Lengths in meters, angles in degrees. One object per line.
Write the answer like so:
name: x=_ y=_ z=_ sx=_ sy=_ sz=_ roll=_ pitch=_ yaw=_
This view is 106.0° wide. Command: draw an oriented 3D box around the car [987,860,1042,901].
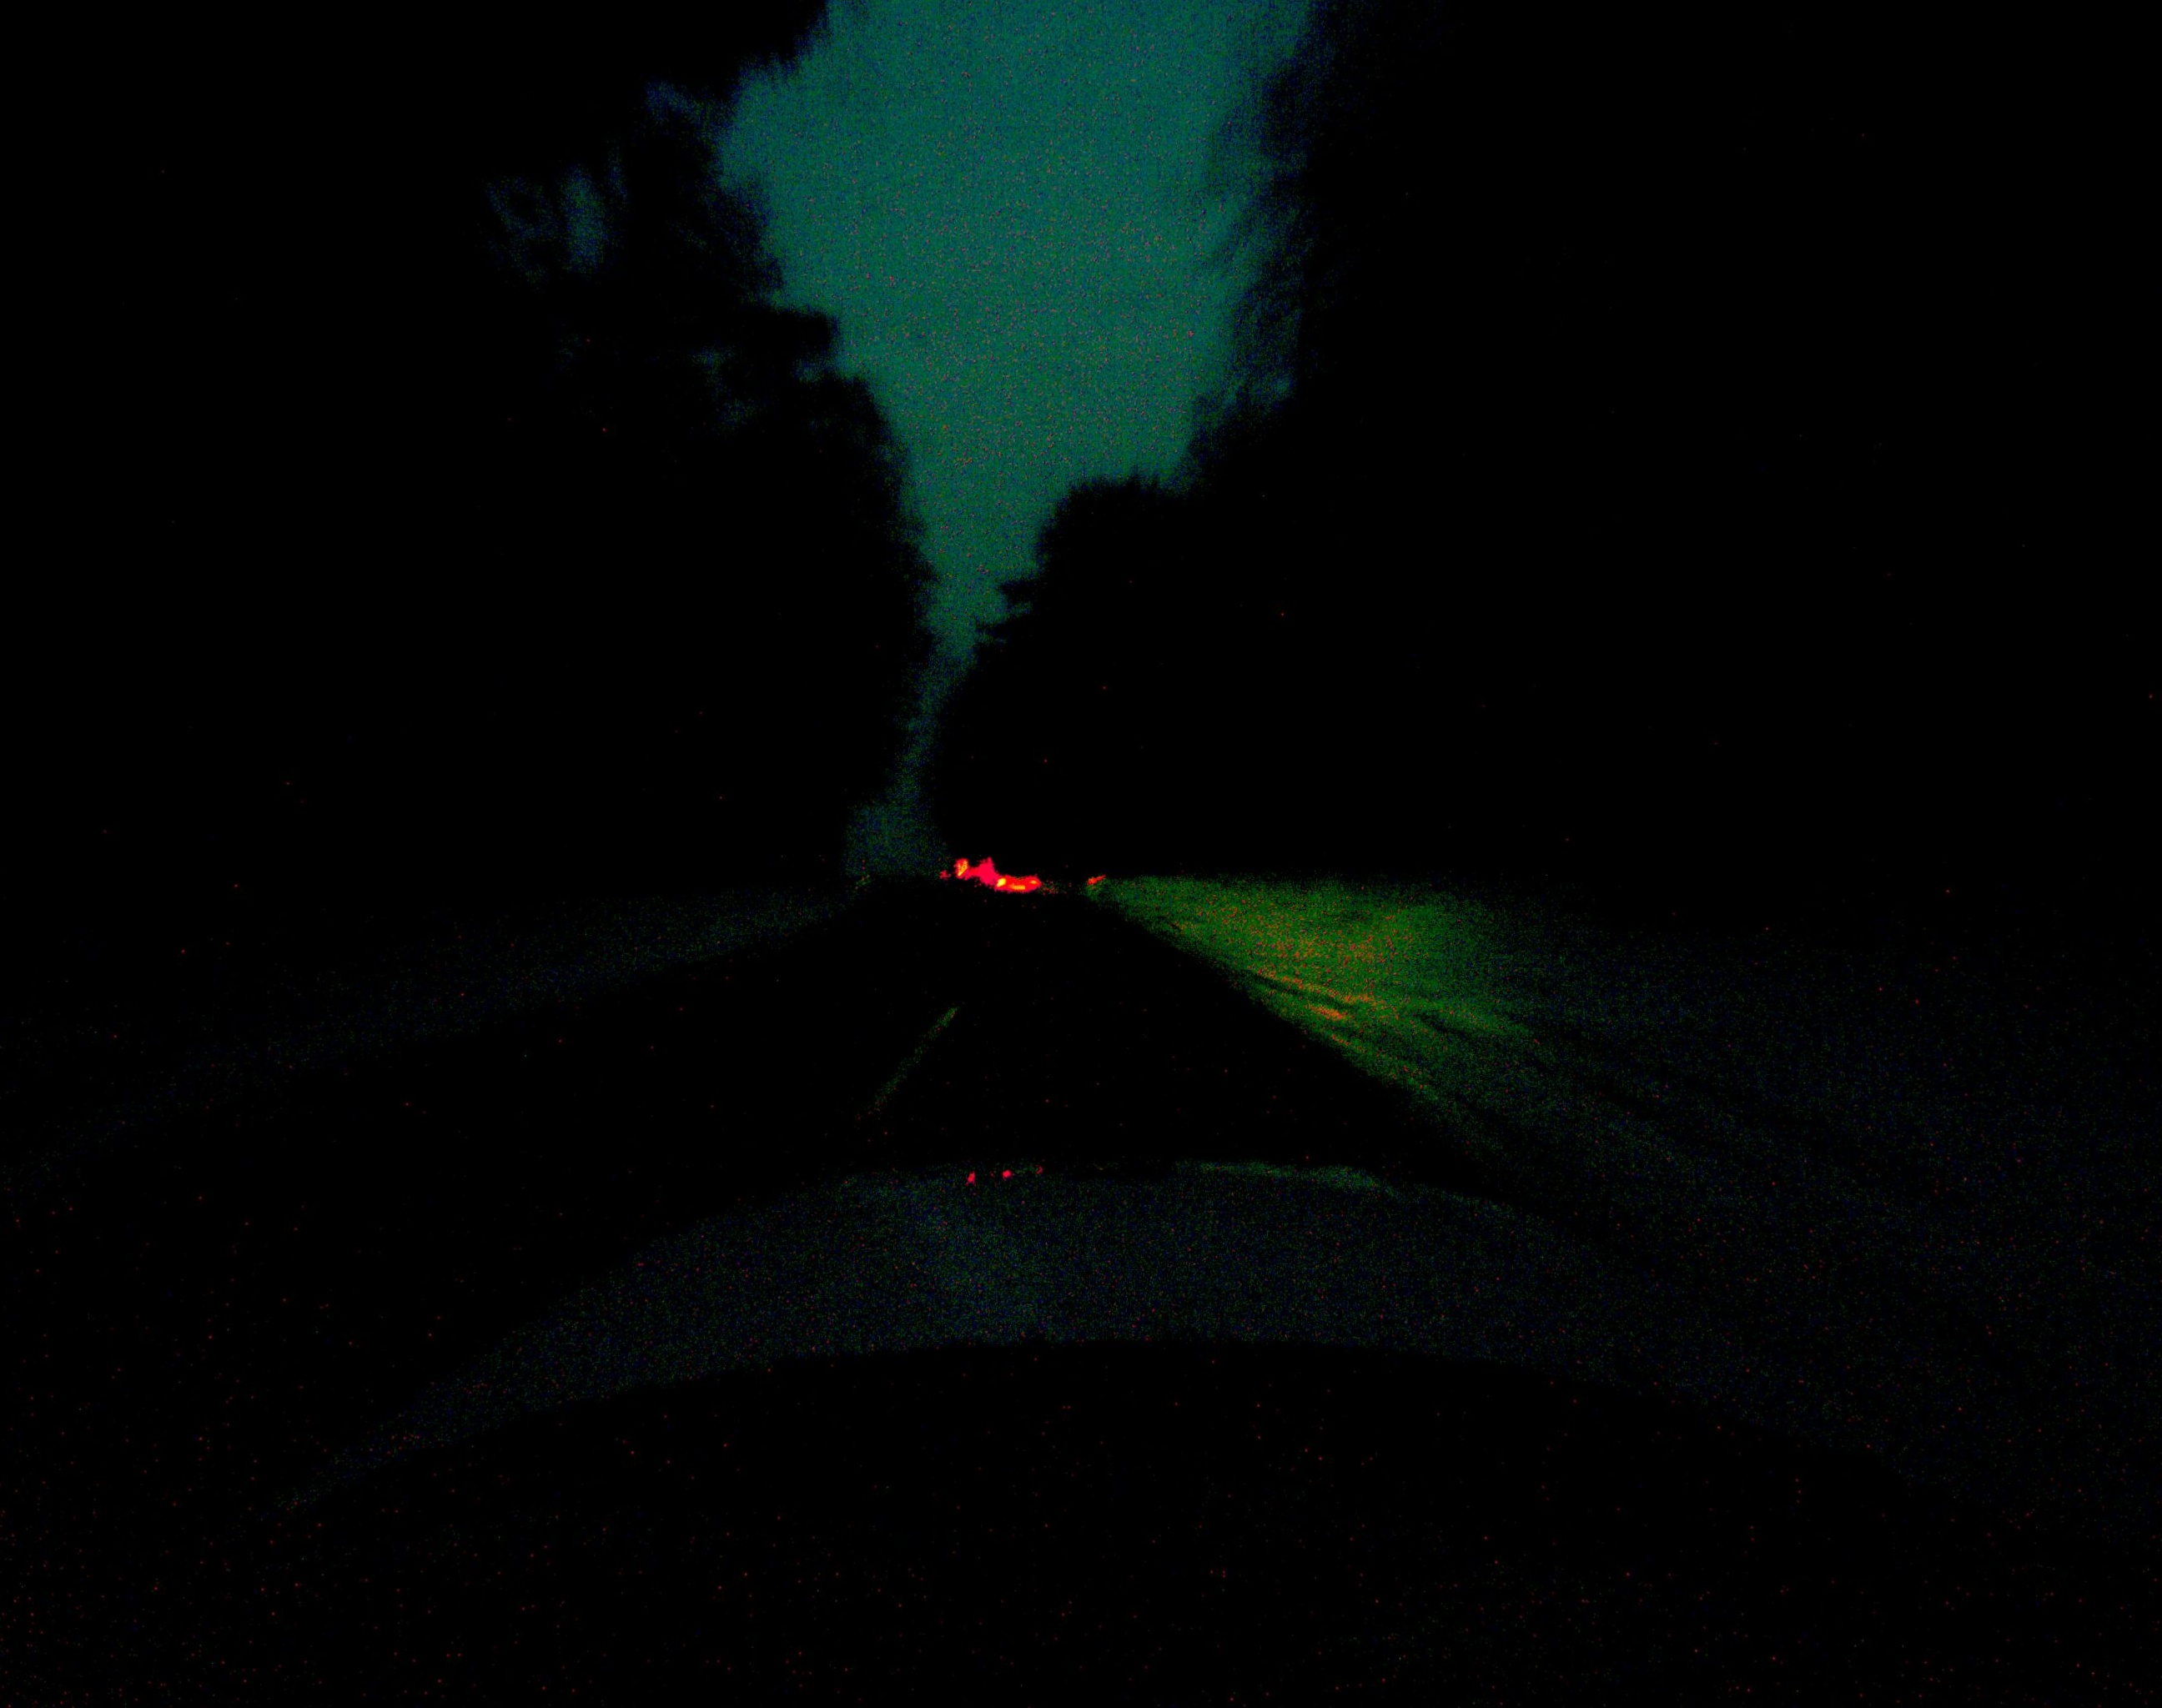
car: x=-2.649 y=1.052 z=32.249 sx=1.943 sy=1.381 sz=3.991 roll=4 pitch=-2 yaw=-6

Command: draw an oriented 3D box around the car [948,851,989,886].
car: x=-6.726 y=0.900 z=48.260 sx=1.995 sy=1.783 sz=3.983 roll=6 pitch=-3 yaw=-11
